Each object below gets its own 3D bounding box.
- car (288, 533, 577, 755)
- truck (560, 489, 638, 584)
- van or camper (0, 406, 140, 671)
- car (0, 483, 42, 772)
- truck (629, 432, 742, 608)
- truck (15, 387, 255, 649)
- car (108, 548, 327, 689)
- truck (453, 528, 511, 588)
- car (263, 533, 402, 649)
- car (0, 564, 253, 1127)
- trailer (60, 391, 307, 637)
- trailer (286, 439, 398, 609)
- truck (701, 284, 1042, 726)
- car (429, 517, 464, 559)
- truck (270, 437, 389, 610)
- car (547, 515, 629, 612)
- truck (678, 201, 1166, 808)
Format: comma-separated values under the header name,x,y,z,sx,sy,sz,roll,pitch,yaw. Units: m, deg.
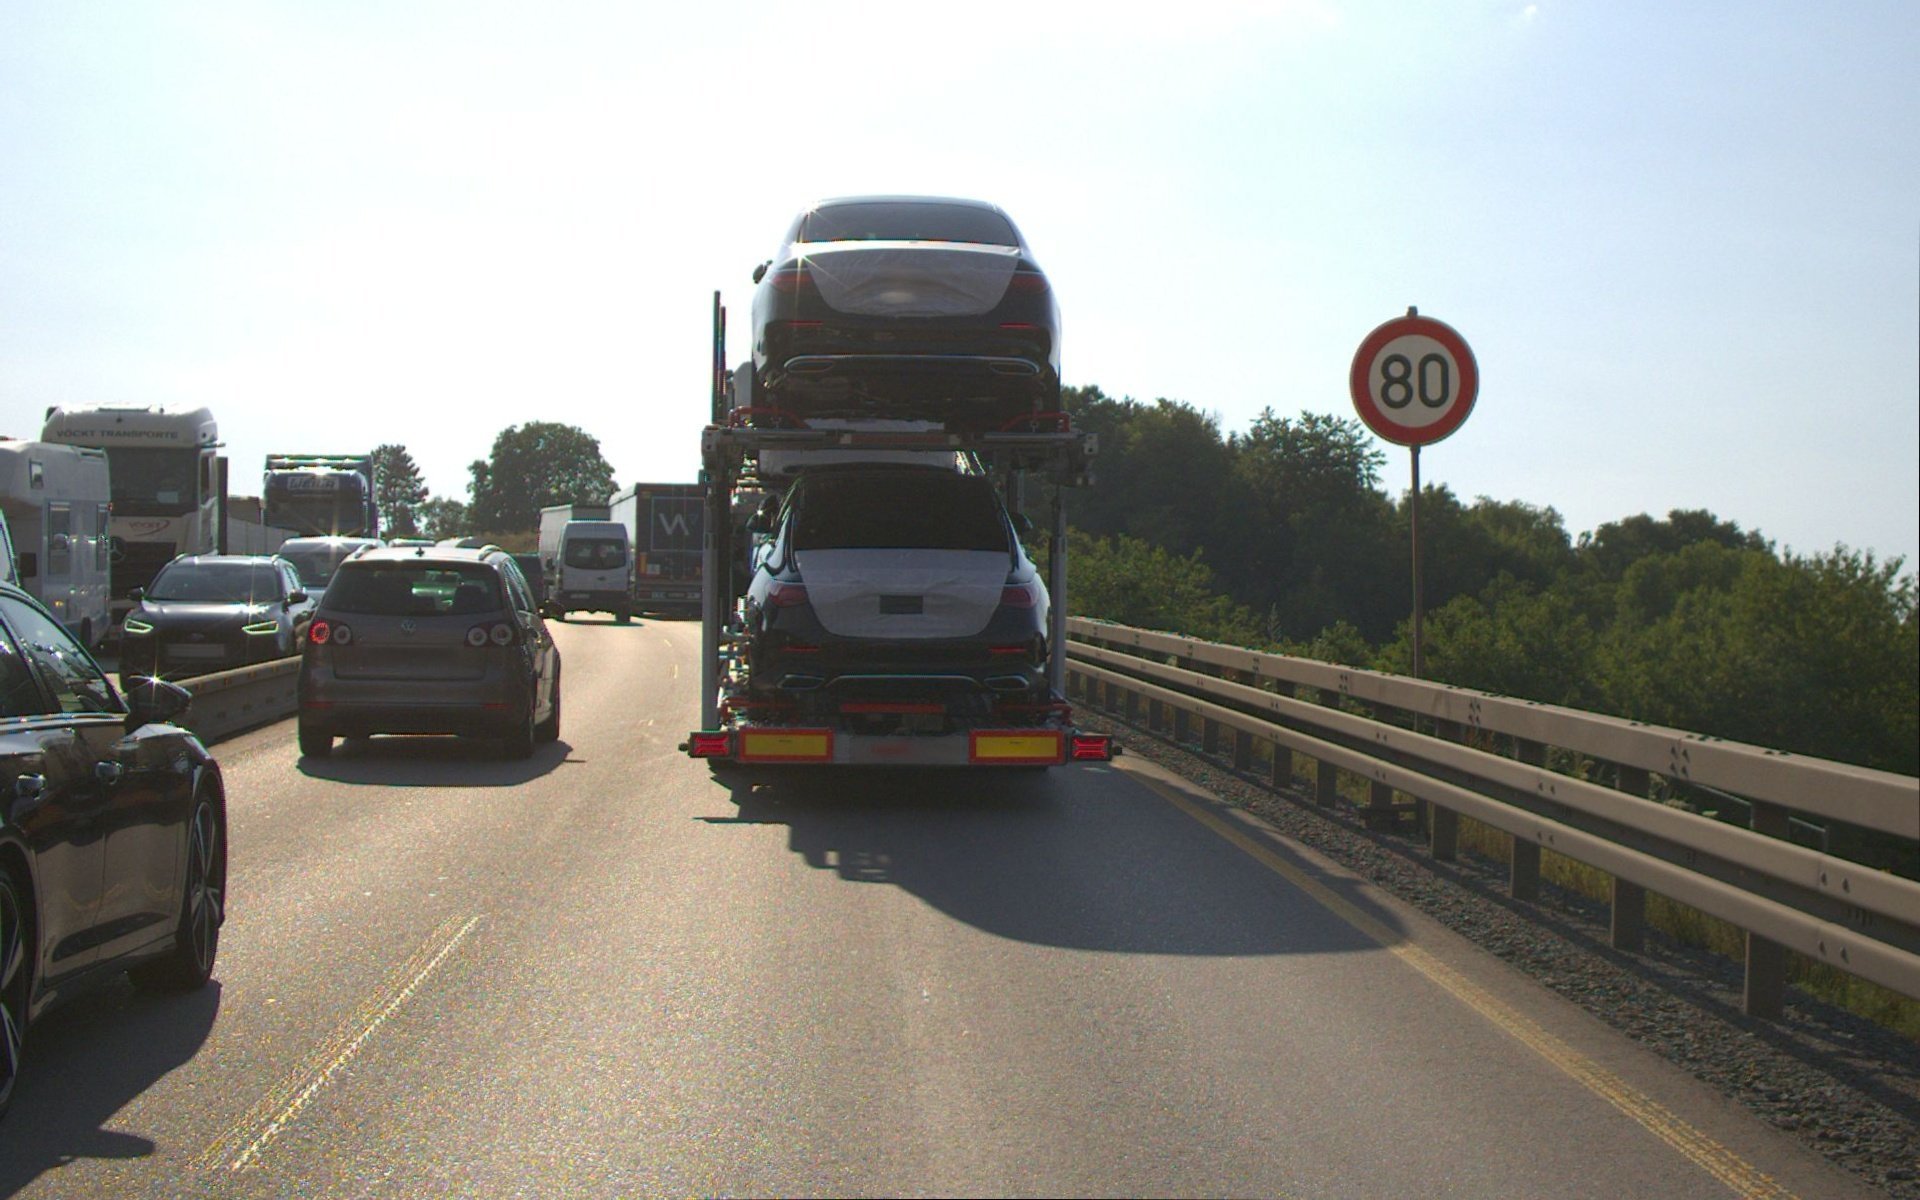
name,x,y,z,sx,sy,sz,roll,pitch,yaw
car,-4.036,0.308,26.844,1.691,1.590,4.000,1,0,-1
truck,-14.372,-2.481,137.242,2.530,3.635,8.906,1,0,-3
van or camper,-11.665,-0.703,41.109,2.407,2.881,7.619,1,0,-4
car,-7.191,0.182,21.581,1.816,1.919,4.837,1,0,-4
truck,-8.670,-2.424,107.638,3.285,5.219,9.937,1,0,-6
truck,-12.538,-1.199,52.705,2.600,3.741,6.518,1,0,-5
car,-8.229,0.181,38.458,1.680,1.474,4.603,1,0,-3
truck,-25.929,-2.272,186.758,2.590,3.159,6.678,1,0,-3
car,-9.519,-0.146,52.430,1.756,1.689,4.454,1,0,-6
car,-3.452,0.603,10.068,1.934,1.394,4.961,1,1,-3
trailer,-13.135,-1.353,59.278,2.519,3.712,13.981,1,0,-6
trailer,-16.276,-1.900,91.219,2.306,4.116,14.604,1,0,-8
truck,-1.133,-0.847,34.668,2.837,3.779,9.988,1,0,-5
car,-25.179,-3.015,168.478,1.629,2.007,4.001,1,0,-9
truck,-15.344,-1.827,83.960,2.502,4.052,5.666,1,0,-7
car,-9.903,-0.969,91.875,1.920,2.484,5.409,1,0,-4
truck,-0.509,-0.580,25.209,2.799,3.485,10.606,1,0,-3
